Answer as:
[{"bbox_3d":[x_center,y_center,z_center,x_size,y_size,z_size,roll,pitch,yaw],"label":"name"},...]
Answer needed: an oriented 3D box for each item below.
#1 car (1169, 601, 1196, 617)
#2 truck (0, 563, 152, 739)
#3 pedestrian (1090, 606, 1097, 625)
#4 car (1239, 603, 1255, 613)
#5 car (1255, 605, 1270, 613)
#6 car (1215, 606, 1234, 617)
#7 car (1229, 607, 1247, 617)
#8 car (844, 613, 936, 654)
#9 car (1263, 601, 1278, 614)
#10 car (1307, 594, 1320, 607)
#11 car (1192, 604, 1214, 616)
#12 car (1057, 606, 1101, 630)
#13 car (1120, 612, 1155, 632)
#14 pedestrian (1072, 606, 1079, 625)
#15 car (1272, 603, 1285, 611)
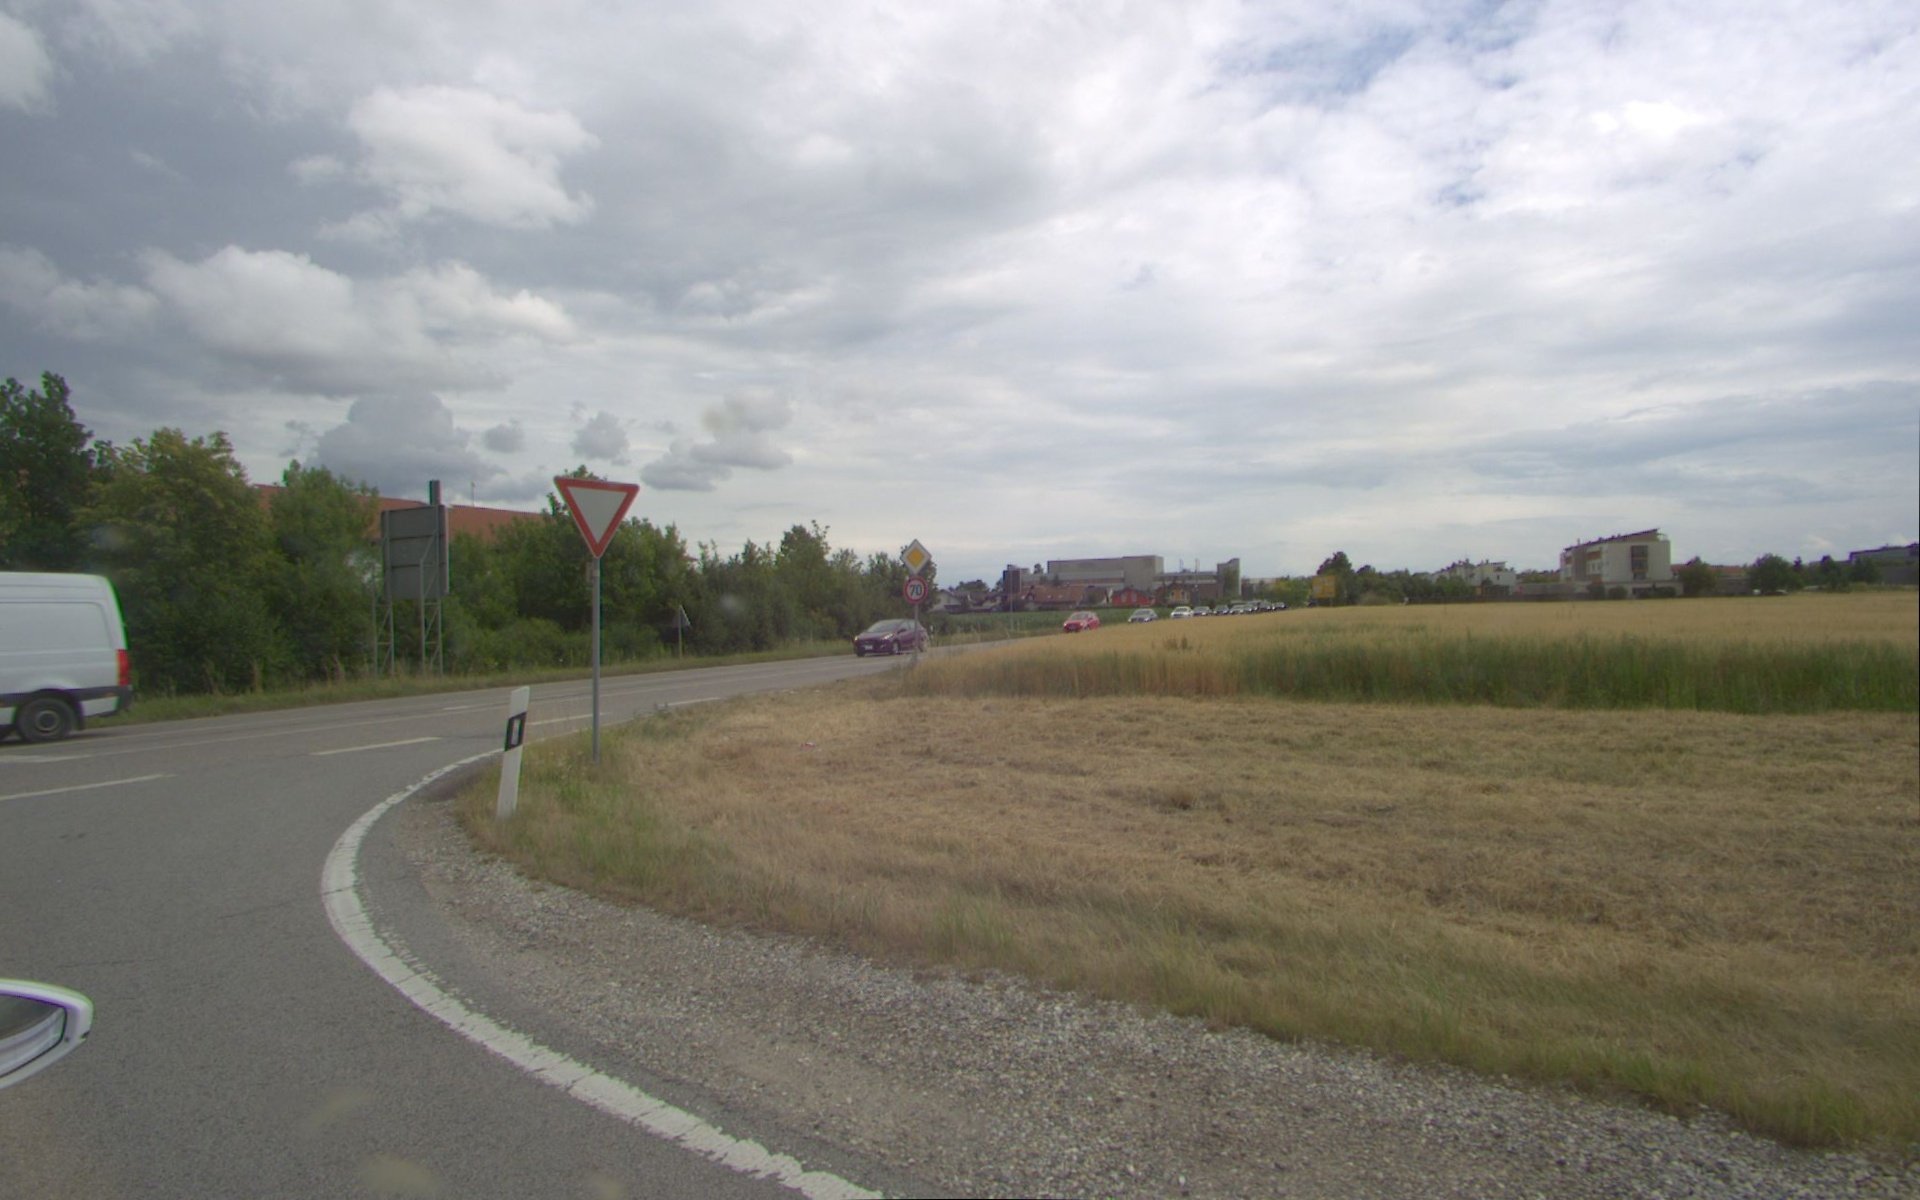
[{"bbox_3d":[21.668,0.903,97.469,1.825,1.486,3.988,-1,0,23],"label":"car"},{"bbox_3d":[-15.557,0.790,14.292,1.967,2.609,5.999,-2,-1,23],"label":"truck"},{"bbox_3d":[12.093,1.379,90.554,0.521,1.705,0.626,0,1,19],"label":"pedestrian"},{"bbox_3d":[40.473,1.150,141.123,1.825,1.287,3.520,-1,0,23],"label":"car"},{"bbox_3d":[47.815,1.412,158.320,1.825,1.287,3.520,-1,0,23],"label":"car"},{"bbox_3d":[31.771,1.393,120.240,1.825,1.287,3.520,-1,0,23],"label":"car"},{"bbox_3d":[36.818,1.599,132.510,1.825,1.287,3.520,-1,0,23],"label":"car"},{"bbox_3d":[-2.832,1.366,41.615,1.969,1.483,4.145,-2,0,27],"label":"car"},{"bbox_3d":[51.849,1.233,167.074,1.966,2.041,3.988,0,1,23],"label":"car"},{"bbox_3d":[74.912,0.163,212.090,2.114,2.675,5.551,0,1,24],"label":"car"},{"bbox_3d":[26.423,1.069,108.891,1.825,1.287,3.520,-1,0,23],"label":"car"},{"bbox_3d":[8.036,1.164,67.122,1.825,1.486,3.987,-1,0,24],"label":"car"},{"bbox_3d":[14.279,1.769,80.365,1.825,1.486,3.987,-1,0,24],"label":"car"},{"bbox_3d":[10.521,1.369,91.073,0.521,1.705,0.626,0,1,19],"label":"pedestrian"},{"bbox_3d":[56.373,1.180,177.315,1.825,1.287,3.520,-1,0,23],"label":"car"}]
